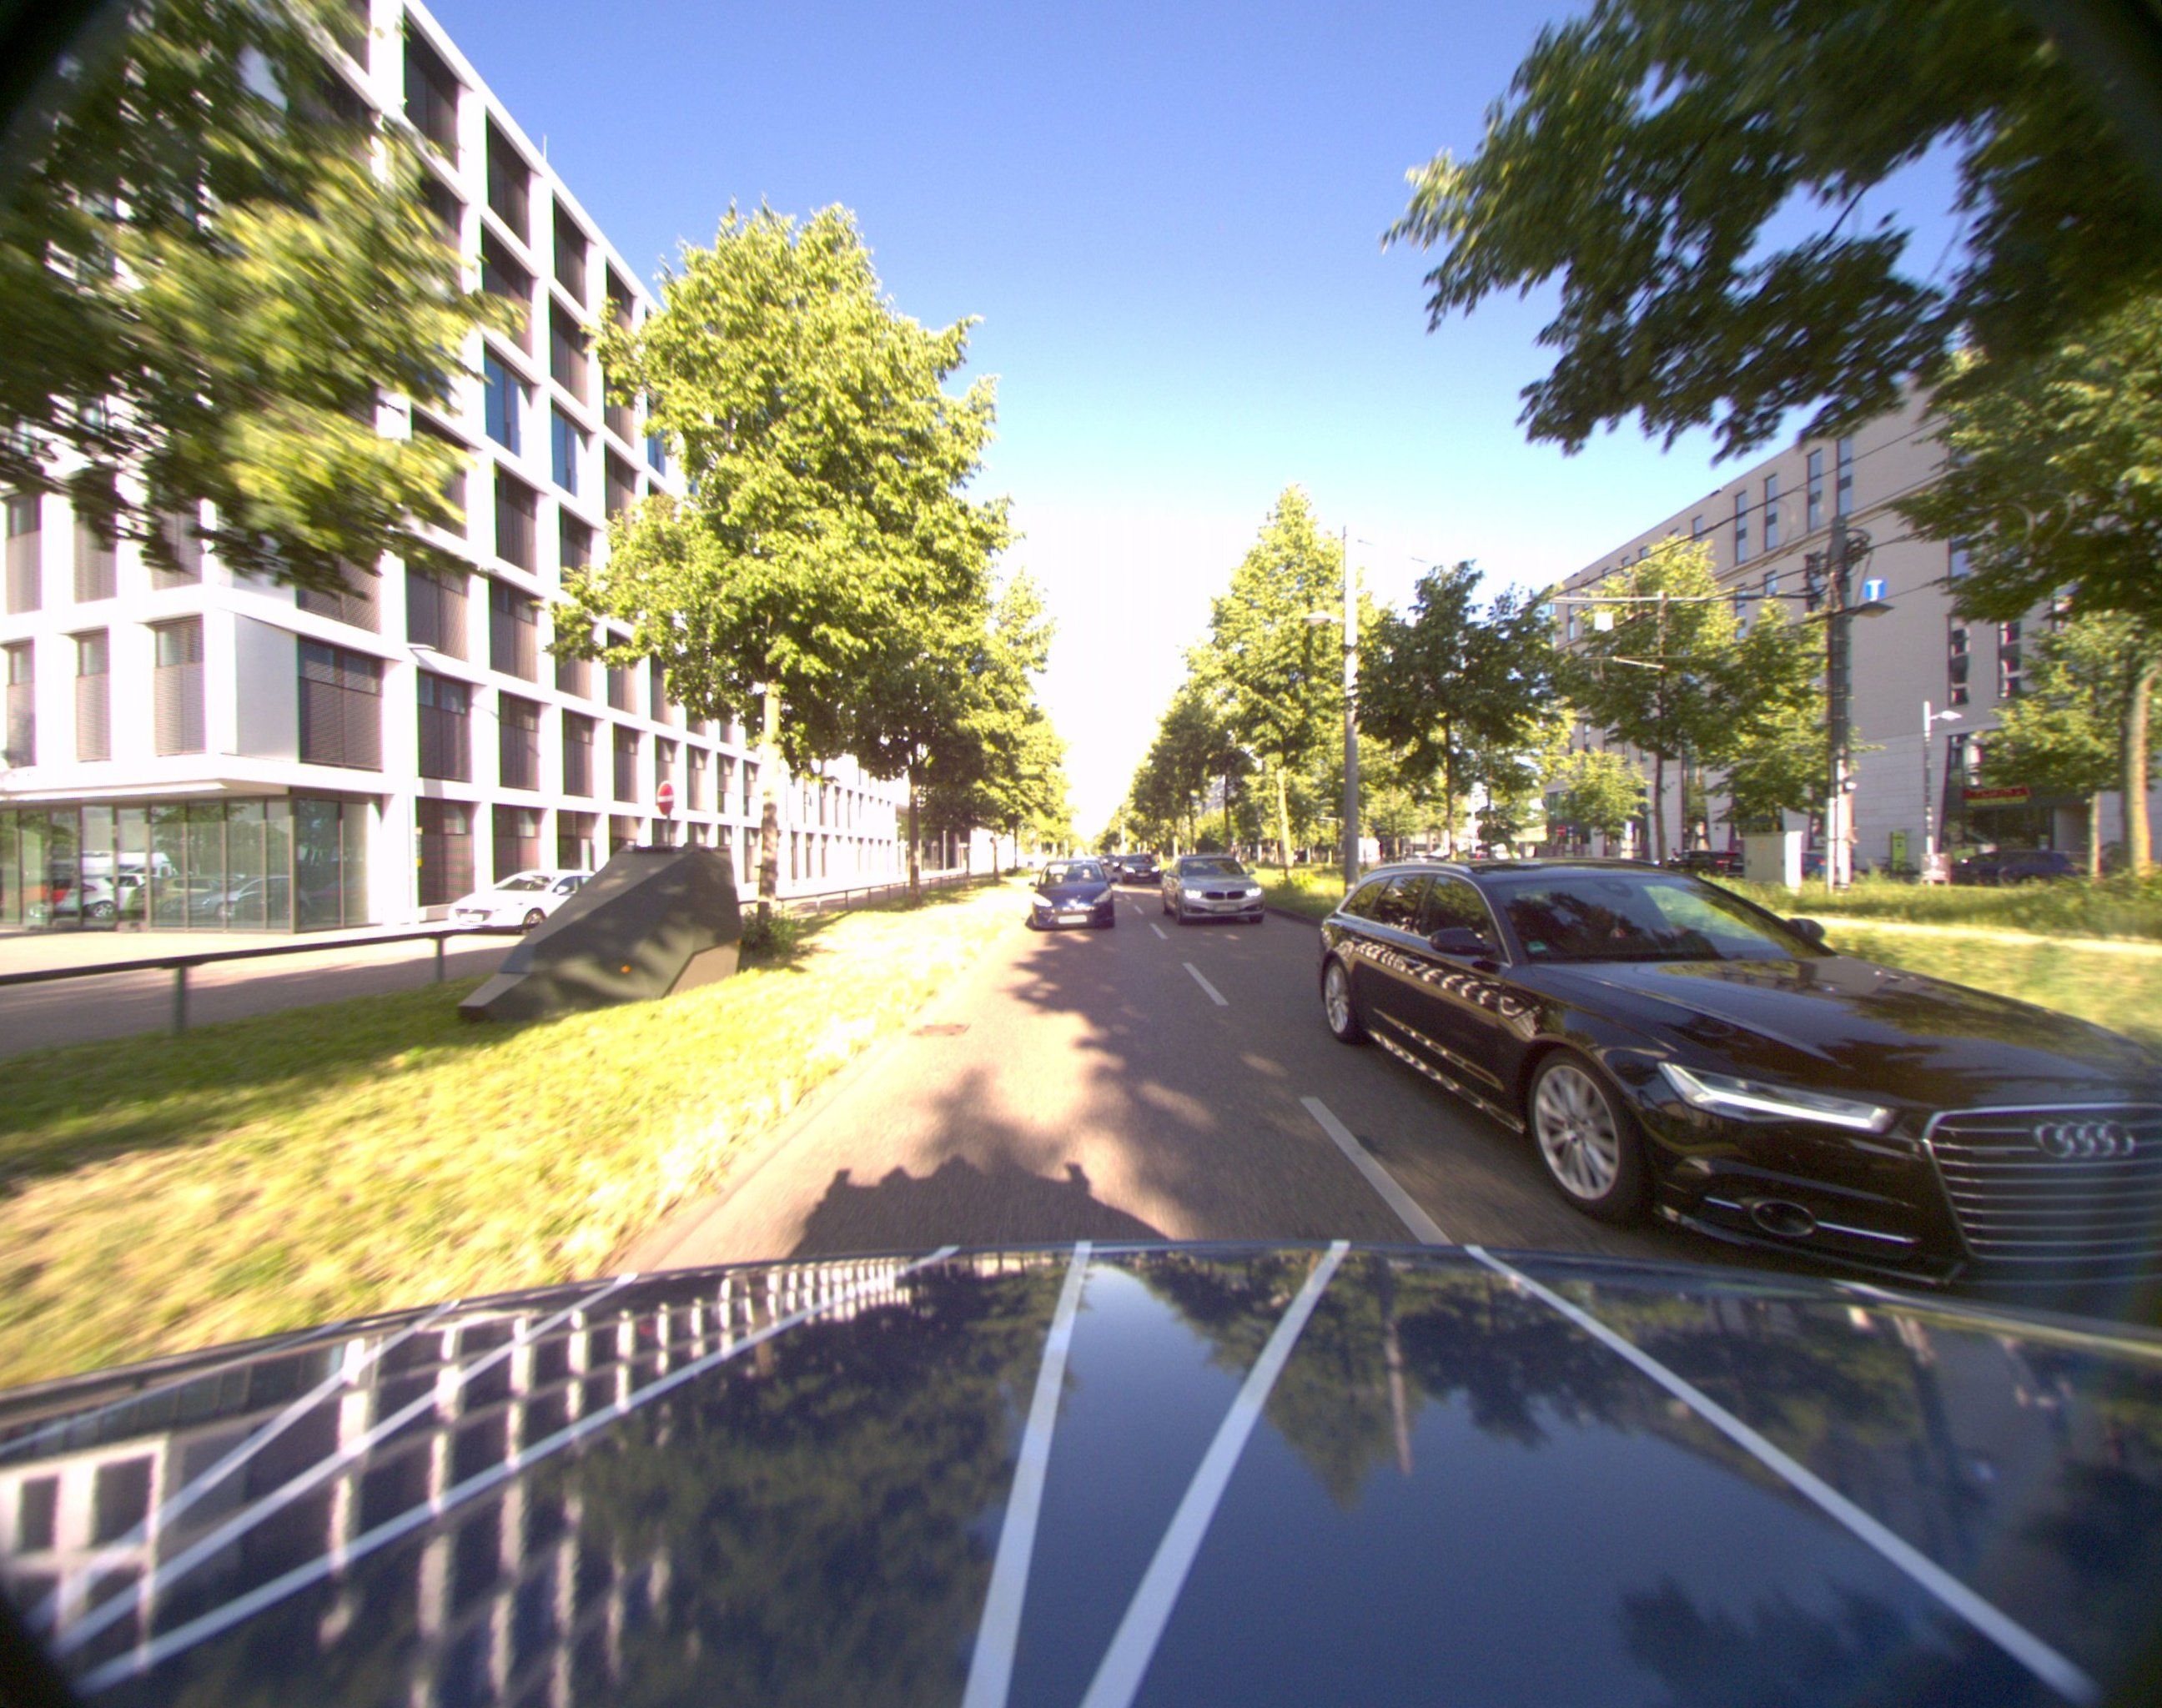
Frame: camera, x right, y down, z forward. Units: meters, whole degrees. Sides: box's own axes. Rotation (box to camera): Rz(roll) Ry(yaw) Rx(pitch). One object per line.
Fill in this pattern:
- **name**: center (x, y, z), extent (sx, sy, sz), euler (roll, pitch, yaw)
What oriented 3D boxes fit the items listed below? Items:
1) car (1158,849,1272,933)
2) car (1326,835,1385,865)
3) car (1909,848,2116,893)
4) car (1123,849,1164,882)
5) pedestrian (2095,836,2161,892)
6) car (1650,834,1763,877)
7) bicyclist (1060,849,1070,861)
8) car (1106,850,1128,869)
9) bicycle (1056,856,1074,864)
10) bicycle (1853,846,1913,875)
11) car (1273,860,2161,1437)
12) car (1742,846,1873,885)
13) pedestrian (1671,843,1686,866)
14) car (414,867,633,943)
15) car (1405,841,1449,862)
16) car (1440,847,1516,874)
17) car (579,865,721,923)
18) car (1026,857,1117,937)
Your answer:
- **car**: center (2.918, 0.736, 17.476), extent (1.886, 1.569, 4.277), euler (-3, 1, 1)
- **car**: center (23.776, -0.358, 66.159), extent (2.513, 2.368, 6.025), euler (-3, 1, -4)
- **car**: center (31.709, 0.519, 26.107), extent (1.728, 1.405, 4.336), euler (-1, 0, -2)
- **car**: center (3.222, 0.574, 39.631), extent (1.950, 1.514, 4.000), euler (-3, 1, 3)
- **pedestrian**: center (34.140, 0.309, 24.643), extent (0.844, 1.733, 1.223), euler (-3, 1, 1)
- **car**: center (31.901, 0.067, 38.951), extent (1.999, 2.002, 4.553), euler (-1, 0, -2)
- **bicyclist**: center (-1.801, 0.090, 86.121), extent (1.086, 1.315, 0.639), euler (-1, 1, 4)
- **car**: center (3.182, 0.467, 67.326), extent (1.782, 1.571, 3.783), euler (-3, 1, 1)
- **bicycle**: center (-1.838, 0.711, 86.129), extent (1.927, 0.899, 0.647), euler (-1, 1, 4)
- **bicycle**: center (38.980, 0.292, 36.960), extent (0.663, 1.317, 2.336), euler (-3, 1, 7)
- **car**: center (2.820, 0.800, 4.551), extent (1.958, 1.471, 5.084), euler (-1, -1, -1)
- **car**: center (31.973, 0.465, 33.605), extent (1.998, 1.563, 4.000), euler (-1, 0, 0)
- **pedestrian**: center (38.417, 0.042, 48.853), extent (0.603, 1.451, 0.458), euler (-3, 1, 4)
- **car**: center (-13.475, 1.147, 18.781), extent (1.998, 1.477, 4.403), euler (2, 1, 4)
- **car**: center (32.965, -0.241, 72.516), extent (2.106, 1.798, 4.420), euler (-3, 1, -1)
- **car**: center (23.312, 0.338, 44.819), extent (1.999, 1.433, 4.455), euler (-3, 1, -1)
- **car**: center (-13.197, 1.164, 23.602), extent (1.869, 1.477, 4.272), euler (1, 1, 1)
- **car**: center (-0.118, 0.875, 17.273), extent (1.766, 1.462, 4.000), euler (-3, 1, 2)
